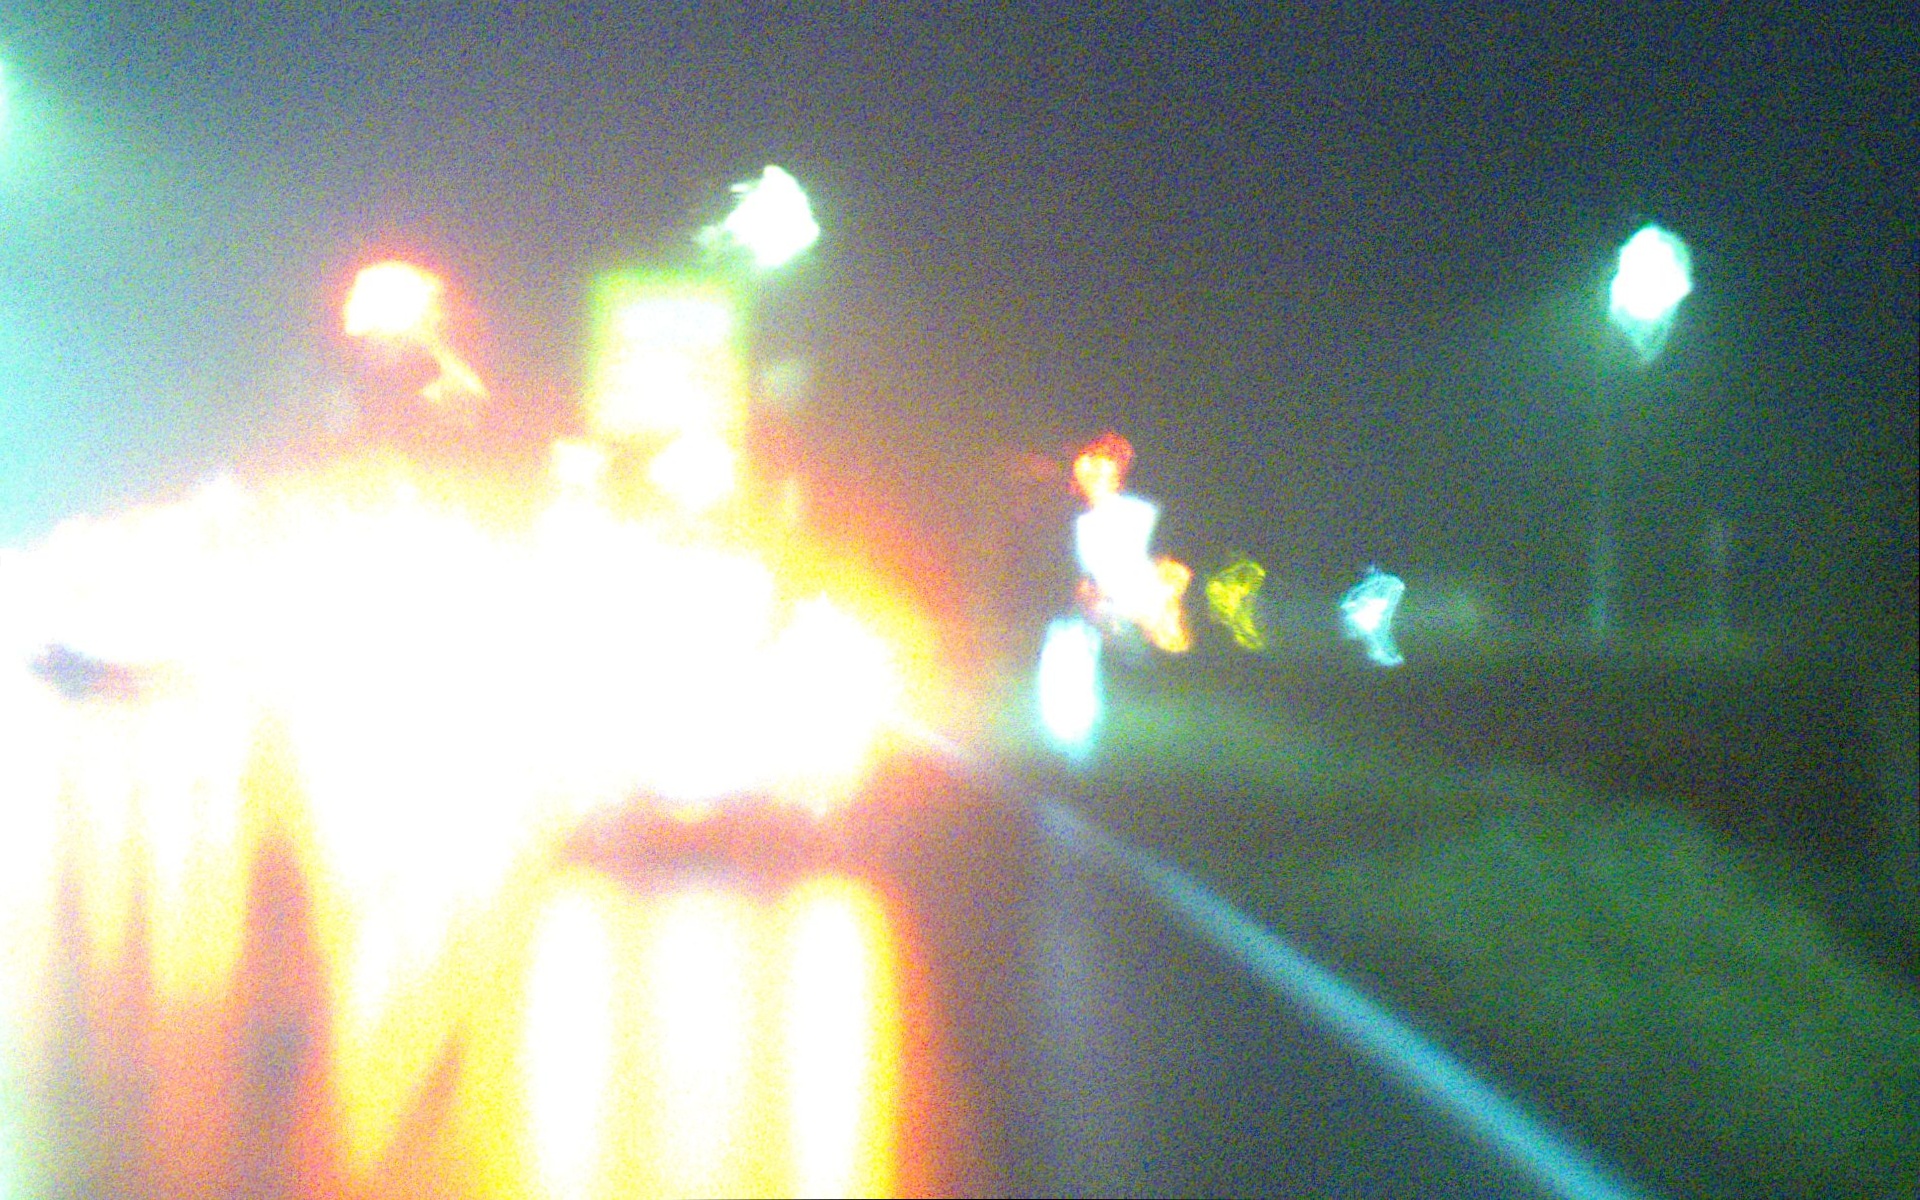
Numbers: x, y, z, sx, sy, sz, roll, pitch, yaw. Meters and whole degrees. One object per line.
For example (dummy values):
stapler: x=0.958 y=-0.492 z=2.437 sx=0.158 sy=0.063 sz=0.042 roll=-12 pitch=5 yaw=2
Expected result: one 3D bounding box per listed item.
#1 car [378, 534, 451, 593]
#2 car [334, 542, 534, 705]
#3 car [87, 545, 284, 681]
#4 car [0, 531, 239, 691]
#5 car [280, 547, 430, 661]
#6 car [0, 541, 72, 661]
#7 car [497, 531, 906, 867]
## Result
car: x=-15.822 y=-1.077 z=99.720 sx=1.993 sy=1.622 sz=4.986 roll=-1 pitch=1 yaw=-9
car: x=-5.793 y=0.202 z=38.382 sx=1.993 sy=1.622 sz=4.986 roll=-1 pitch=1 yaw=-7
car: x=-10.213 y=0.121 z=45.675 sx=1.993 sy=1.622 sz=4.986 roll=-1 pitch=1 yaw=-7
car: x=-9.400 y=0.064 z=38.805 sx=1.993 sy=1.622 sz=4.986 roll=-1 pitch=1 yaw=-7
car: x=-9.415 y=0.024 z=53.849 sx=1.993 sy=1.622 sz=4.986 roll=-1 pitch=1 yaw=-7
car: x=-14.261 y=-0.011 z=49.811 sx=1.993 sy=1.622 sz=4.986 roll=-1 pitch=1 yaw=-7
car: x=-1.345 y=0.507 z=19.608 sx=1.993 sy=1.622 sz=4.984 roll=1 pitch=0 yaw=-1
